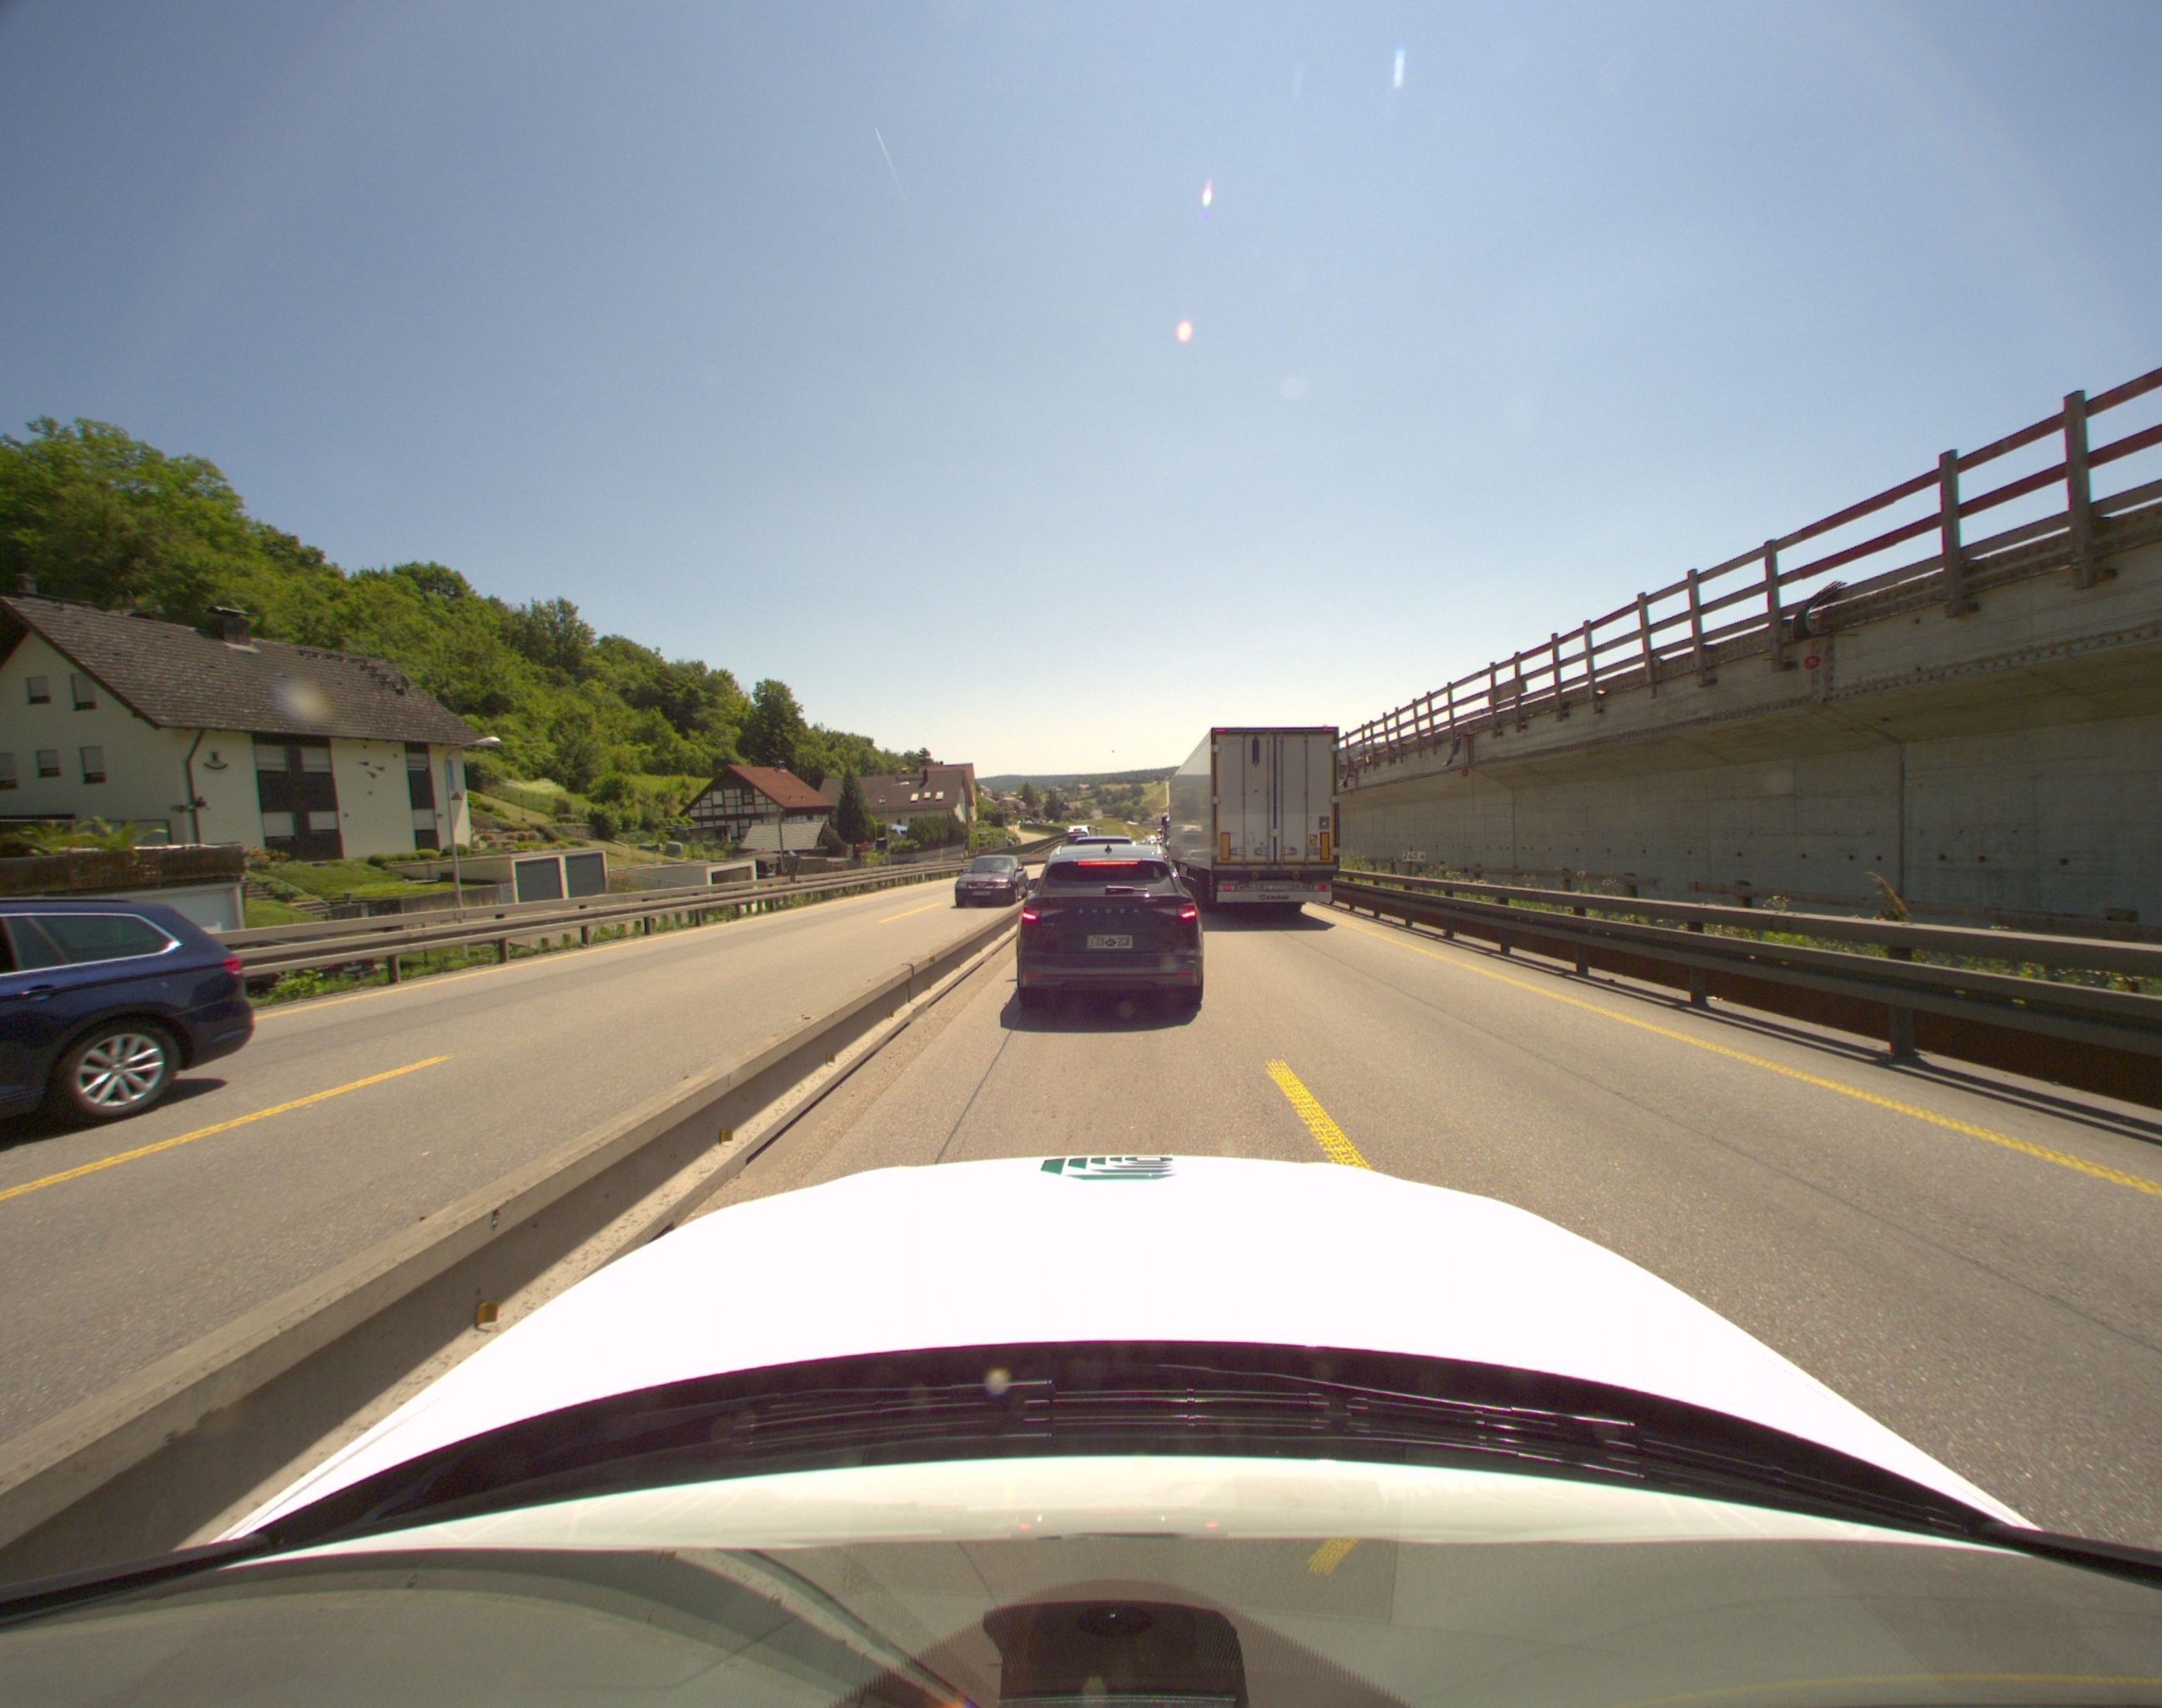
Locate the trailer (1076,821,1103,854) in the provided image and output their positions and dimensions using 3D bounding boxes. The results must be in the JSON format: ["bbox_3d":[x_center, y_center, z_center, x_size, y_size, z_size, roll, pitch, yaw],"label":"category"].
[{"bbox_3d":[1.147,-2.113,104.824,2.743,4.070,8.649,0,1,6],"label":"trailer"}]

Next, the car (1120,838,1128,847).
[{"bbox_3d":[8.843,-2.422,168.638,1.694,1.728,3.839,0,0,3],"label":"car"}]

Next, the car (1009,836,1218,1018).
[{"bbox_3d":[0.239,0.657,9.147,1.838,1.586,3.904,0,0,-2],"label":"car"}]

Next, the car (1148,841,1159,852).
[{"bbox_3d":[12.314,-1.205,137.722,1.692,1.728,3.843,-1,0,7],"label":"car"}]

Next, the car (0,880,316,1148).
[{"bbox_3d":[-6.861,0.930,3.889,1.834,1.418,4.689,-2,-1,2],"label":"car"}]

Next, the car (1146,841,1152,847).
[{"bbox_3d":[19.143,-2.861,228.639,1.692,1.728,3.843,-1,0,7],"label":"car"}]

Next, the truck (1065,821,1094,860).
[{"bbox_3d":[-0.118,-1.567,92.526,2.739,4.283,4.965,0,1,5],"label":"truck"}]

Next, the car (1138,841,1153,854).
[{"bbox_3d":[8.888,-0.880,112.223,1.985,1.585,3.839,0,0,3],"label":"car"}]

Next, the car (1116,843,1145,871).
[{"bbox_3d":[2.991,0.130,49.961,1.700,1.622,4.002,0,1,2],"label":"car"}]

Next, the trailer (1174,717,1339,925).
[{"bbox_3d":[4.143,-0.615,21.957,2.521,4.127,11.557,0,0,3],"label":"trailer"}]

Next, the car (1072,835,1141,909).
[{"bbox_3d":[0.634,0.416,22.930,1.702,1.881,3.998,0,1,-2],"label":"car"}]

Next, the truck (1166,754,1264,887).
[{"bbox_3d":[4.485,-0.983,28.756,2.503,4.025,8.244,0,0,3],"label":"truck"}]

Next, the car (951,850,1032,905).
[{"bbox_3d":[-2.545,0.636,24.071,1.711,1.408,4.003,-2,1,3],"label":"car"}]

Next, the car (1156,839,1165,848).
[{"bbox_3d":[17.089,-2.213,174.795,1.692,1.728,3.843,-1,0,7],"label":"car"}]

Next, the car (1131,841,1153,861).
[{"bbox_3d":[5.115,-0.263,69.170,1.700,1.622,4.002,0,1,2],"label":"car"}]

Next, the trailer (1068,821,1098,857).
[{"bbox_3d":[0.295,-1.809,96.471,2.743,4.070,8.021,0,1,6],"label":"trailer"}]

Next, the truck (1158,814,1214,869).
[{"bbox_3d":[6.769,-0.689,53.968,3.179,3.191,12.828,-1,0,6],"label":"truck"}]

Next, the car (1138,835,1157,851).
[{"bbox_3d":[7.236,-1.173,88.954,1.985,1.585,3.839,0,0,3],"label":"car"}]
